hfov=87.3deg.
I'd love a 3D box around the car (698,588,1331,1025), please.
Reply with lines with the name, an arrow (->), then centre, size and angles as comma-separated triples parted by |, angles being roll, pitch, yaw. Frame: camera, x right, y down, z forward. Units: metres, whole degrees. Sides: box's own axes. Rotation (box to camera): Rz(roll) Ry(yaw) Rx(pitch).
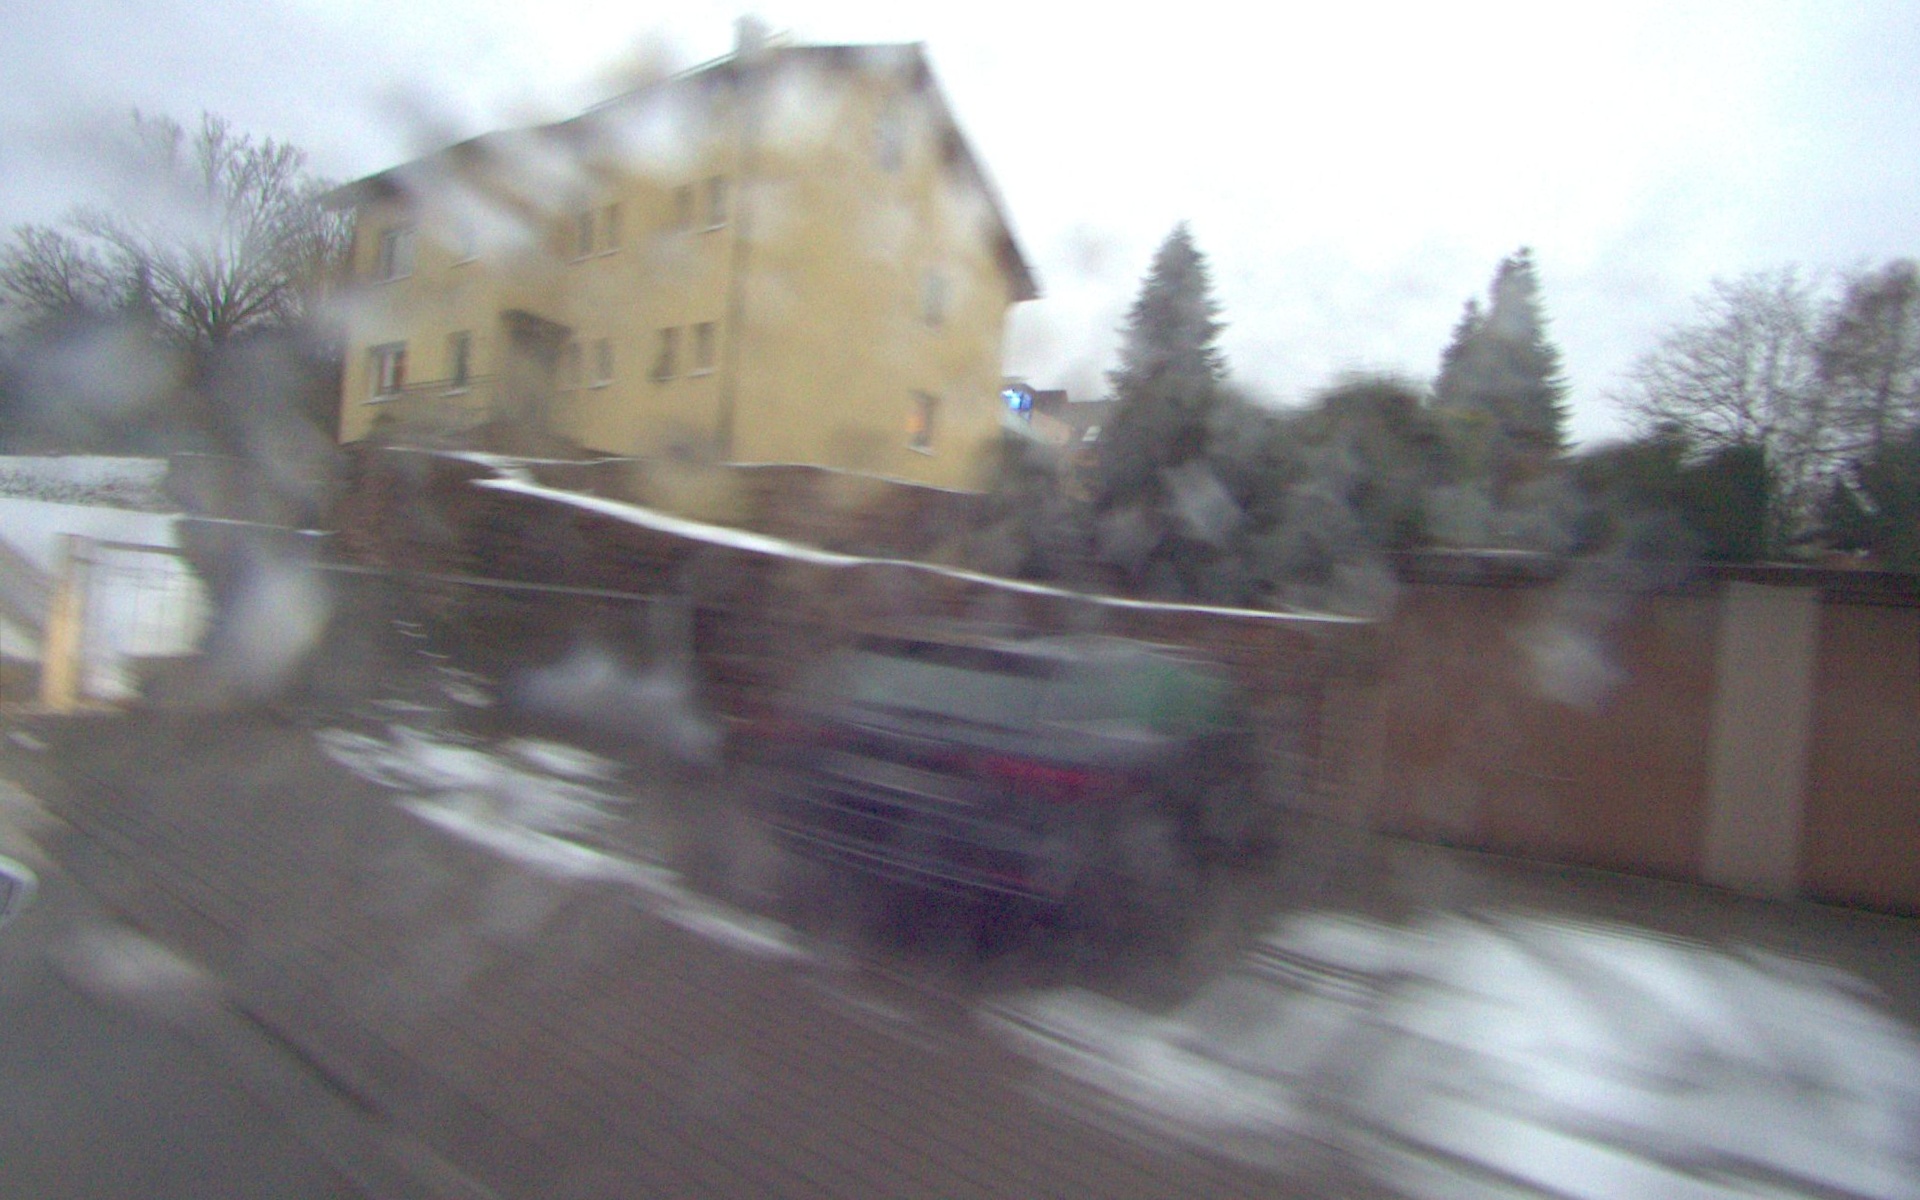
car -> 0.789, 0.899, 6.211 | 1.966, 1.462, 4.510 | 7, 0, 30
